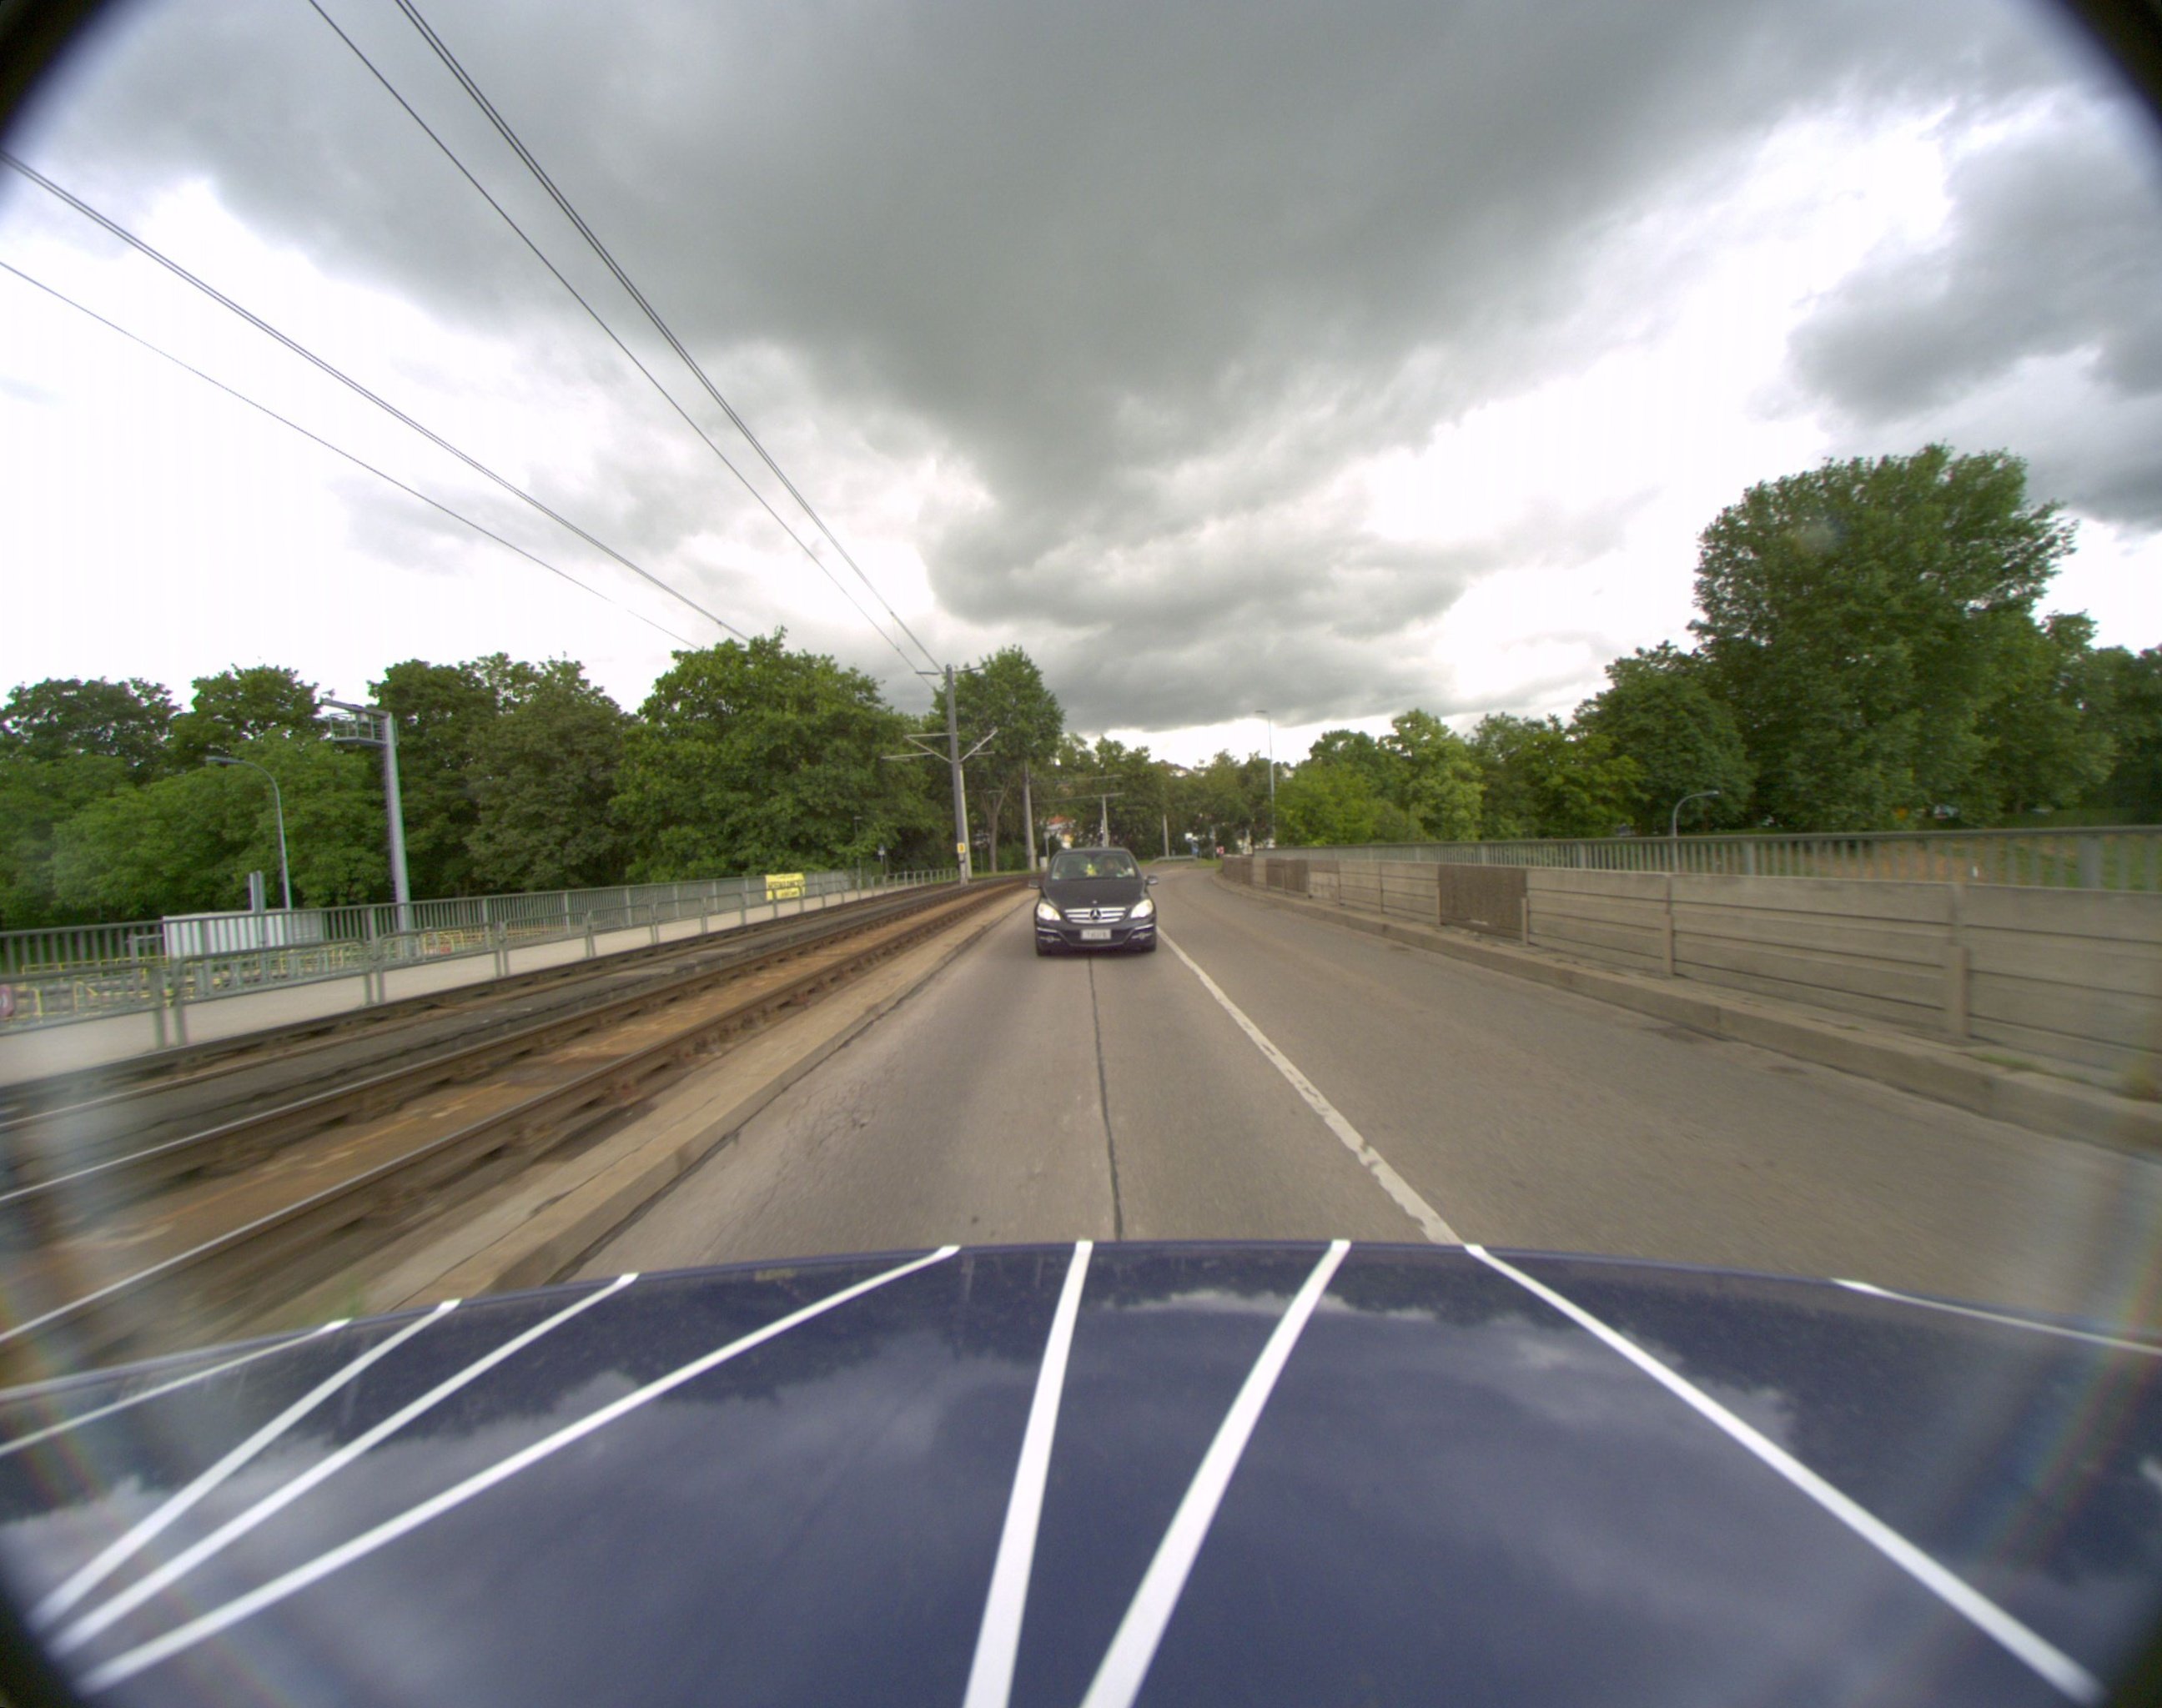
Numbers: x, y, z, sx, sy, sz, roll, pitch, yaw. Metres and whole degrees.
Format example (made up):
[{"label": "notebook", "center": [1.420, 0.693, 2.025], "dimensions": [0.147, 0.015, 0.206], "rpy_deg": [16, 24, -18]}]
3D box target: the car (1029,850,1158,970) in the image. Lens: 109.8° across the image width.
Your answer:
[{"label": "car", "center": [0.186, 0.758, 12.618], "dimensions": [1.711, 1.574, 4.442], "rpy_deg": [-2, 0, 0]}]
